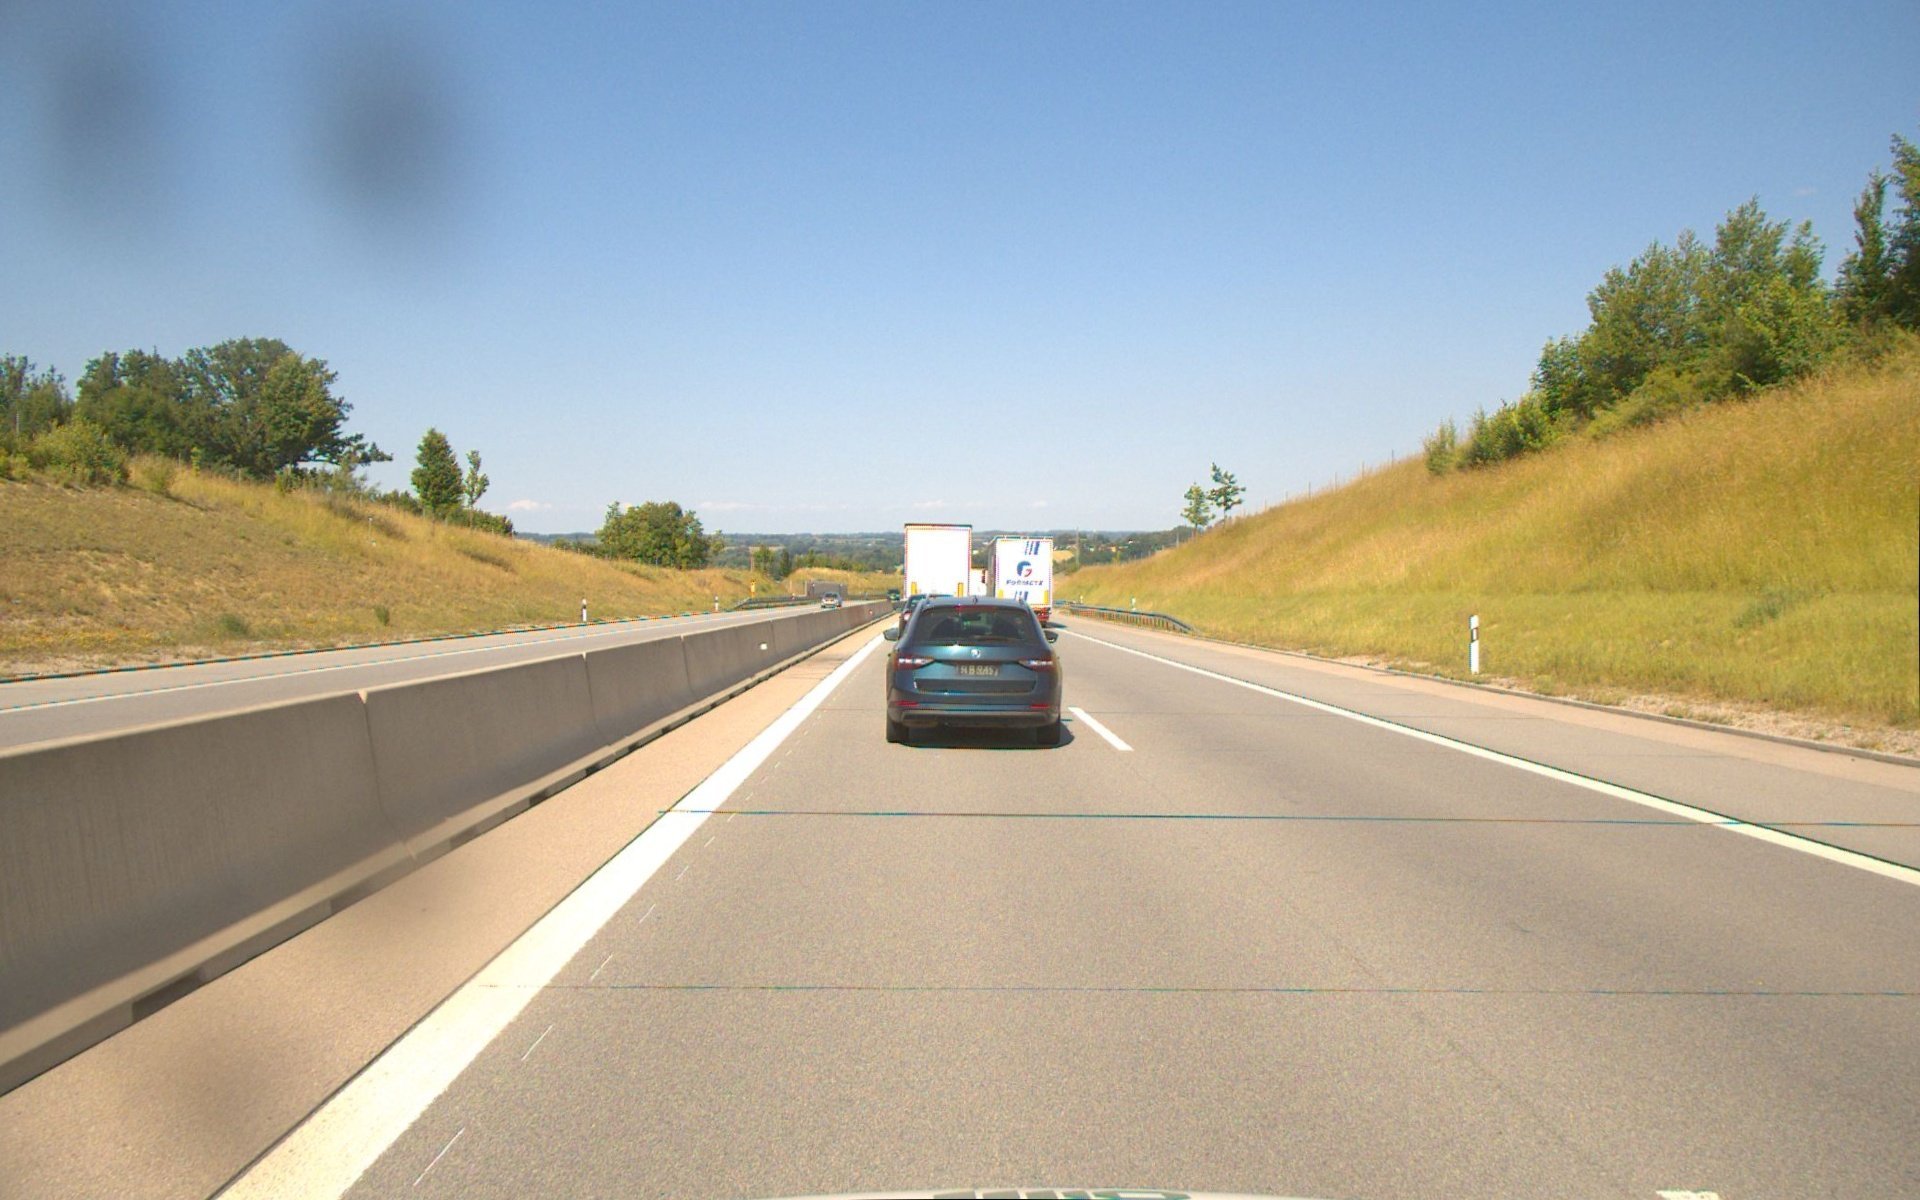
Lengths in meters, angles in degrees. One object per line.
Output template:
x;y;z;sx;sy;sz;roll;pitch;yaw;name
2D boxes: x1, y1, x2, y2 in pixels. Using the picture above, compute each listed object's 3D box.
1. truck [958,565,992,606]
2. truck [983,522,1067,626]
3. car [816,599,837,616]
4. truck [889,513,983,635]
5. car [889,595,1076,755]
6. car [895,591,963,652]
1.724;-1.645;188.024;3.530;4.457;11.236;-2;0;2;truck
3.014;-1.175;78.128;3.530;4.457;11.236;-2;0;2;truck
-12.755;0.709;158.251;1.766;1.497;4.526;0;0;-1;car
-0.836;-1.028;67.776;3.144;4.457;11.236;-2;0;2;truck
0.149;0.695;17.452;1.741;1.466;3.787;-1;0;-2;car
-0.837;0.525;43.393;1.666;1.466;3.998;-2;0;-2;car
